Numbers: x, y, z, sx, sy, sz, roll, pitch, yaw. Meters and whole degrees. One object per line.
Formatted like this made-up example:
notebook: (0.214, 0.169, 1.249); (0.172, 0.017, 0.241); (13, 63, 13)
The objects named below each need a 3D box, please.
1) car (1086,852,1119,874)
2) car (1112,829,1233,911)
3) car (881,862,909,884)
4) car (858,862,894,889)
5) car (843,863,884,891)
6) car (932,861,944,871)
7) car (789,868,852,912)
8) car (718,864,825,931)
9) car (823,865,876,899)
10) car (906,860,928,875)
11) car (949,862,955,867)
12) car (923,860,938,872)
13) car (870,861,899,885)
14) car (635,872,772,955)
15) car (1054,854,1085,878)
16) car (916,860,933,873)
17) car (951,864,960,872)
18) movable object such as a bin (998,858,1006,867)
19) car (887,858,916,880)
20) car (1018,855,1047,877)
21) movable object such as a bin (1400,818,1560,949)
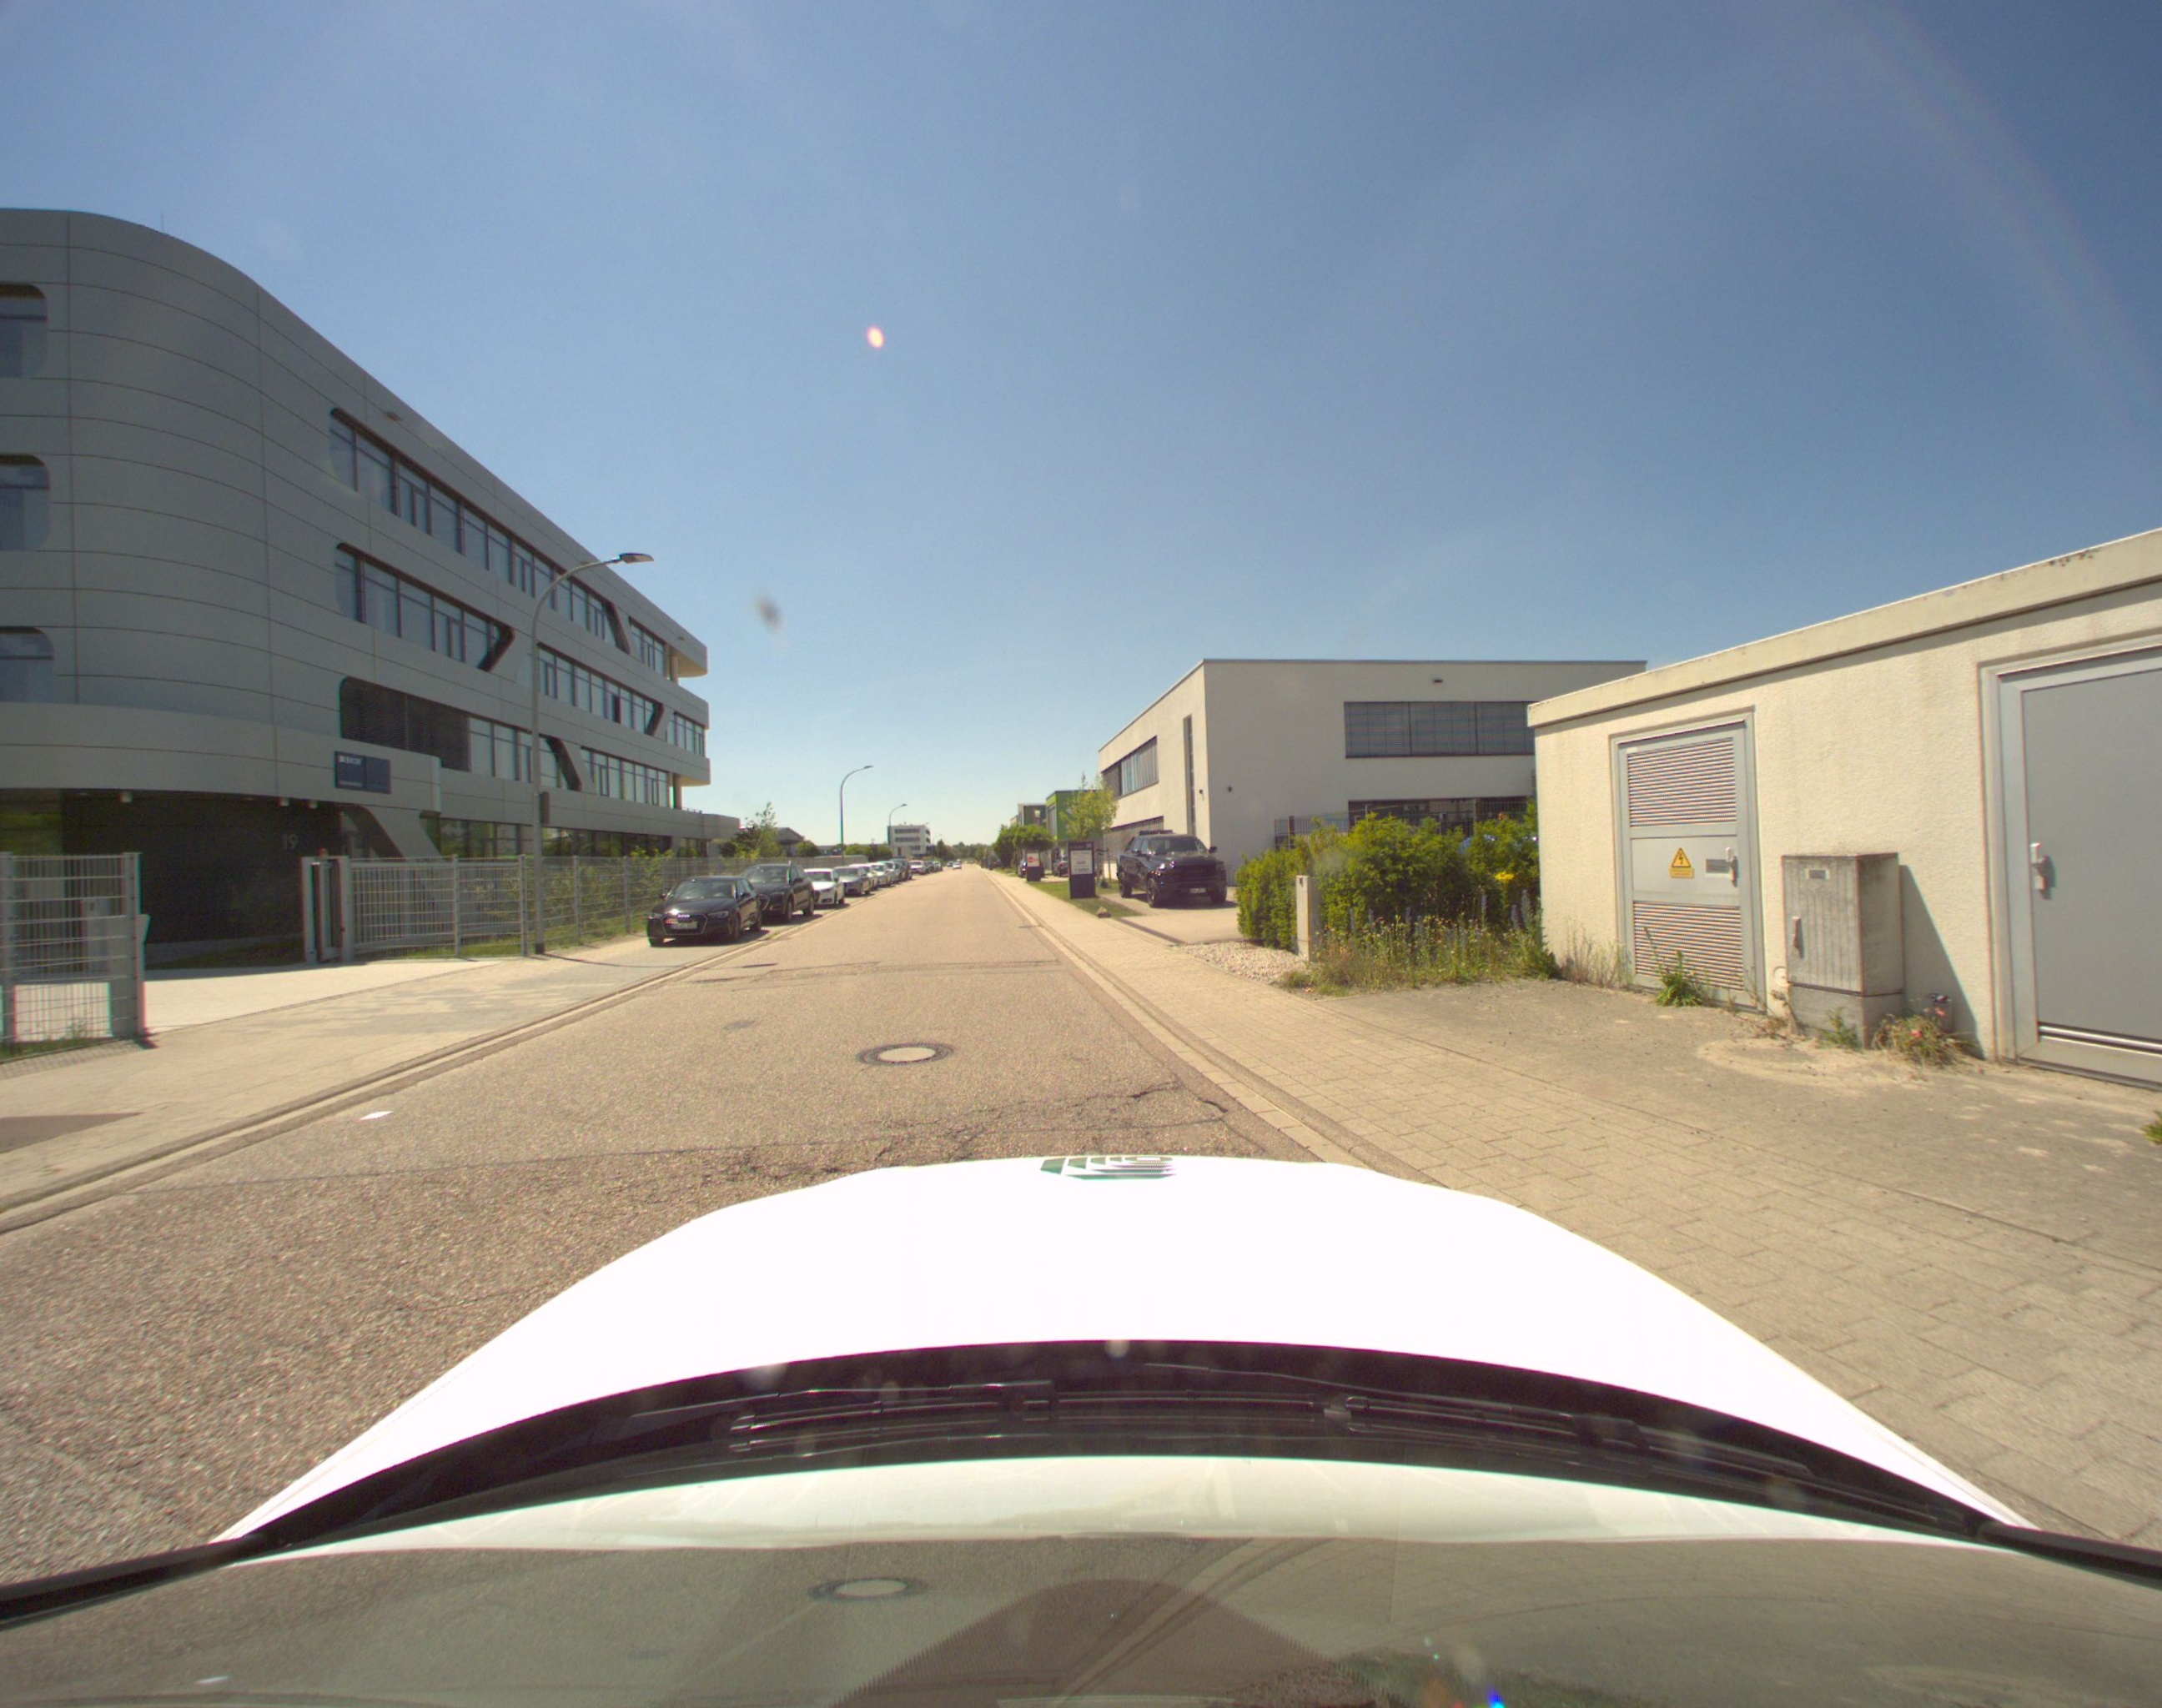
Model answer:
car: (1.490, 0.644, 58.827); (1.722, 1.449, 4.011); (-2, 0, -8)
car: (2.504, 0.317, 24.043); (1.993, 2.013, 5.782); (-3, 2, -9)
car: (-13.940, 1.427, 61.150); (1.633, 1.500, 3.962); (-2, 0, -7)
car: (-12.702, 1.318, 50.677); (1.702, 1.536, 4.558); (-2, 0, -9)
car: (-12.144, 1.259, 45.694); (1.702, 1.444, 4.426); (-2, 0, -9)
car: (-24.030, 1.980, 136.945); (1.768, 1.592, 4.346); (-2, -1, -9)
car: (-9.644, 1.292, 30.387); (1.700, 1.386, 3.923); (-3, 1, -11)
car: (-9.118, 1.198, 24.440); (1.767, 1.651, 4.840); (-3, 1, -6)
car: (-11.028, 1.300, 39.026); (1.682, 1.386, 4.627); (-3, 1, -7)
car: (-17.276, 1.423, 86.106); (1.785, 1.542, 4.355); (-2, 0, -6)
car: (-38.255, 3.014, 241.333); (1.466, 1.489, 3.199); (-3, 0, -7)
car: (-20.668, 1.648, 112.178); (1.790, 1.607, 4.449); (-2, 0, -9)
car: (-13.542, 1.308, 56.309); (1.634, 1.536, 3.647); (-2, 0, -9)
car: (-8.476, 1.251, 18.672); (1.770, 1.466, 4.171); (-3, 1, -10)
car: (-0.860, 0.839, 59.466); (1.722, 1.633, 4.011); (-2, 0, -8)
car: (-18.942, 1.546, 98.813); (1.762, 1.517, 4.367); (-2, 0, -8)
car: (-26.140, 2.919, 169.280); (1.704, 1.411, 4.768); (-2, 0, -10)
movable object such as a bin: (-14.929, 1.605, 154.380); (1.334, 1.459, 0.946); (-4, 0, -9)
car: (-14.528, 1.184, 66.108); (1.801, 1.719, 4.609); (-2, 0, -8)
car: (-3.559, 0.845, 59.250); (1.691, 1.428, 4.234); (-2, 0, -8)
movable object such as a bin: (5.143, 0.352, 10.584); (1.383, 1.523, 1.166); (-4, 0, -9)
